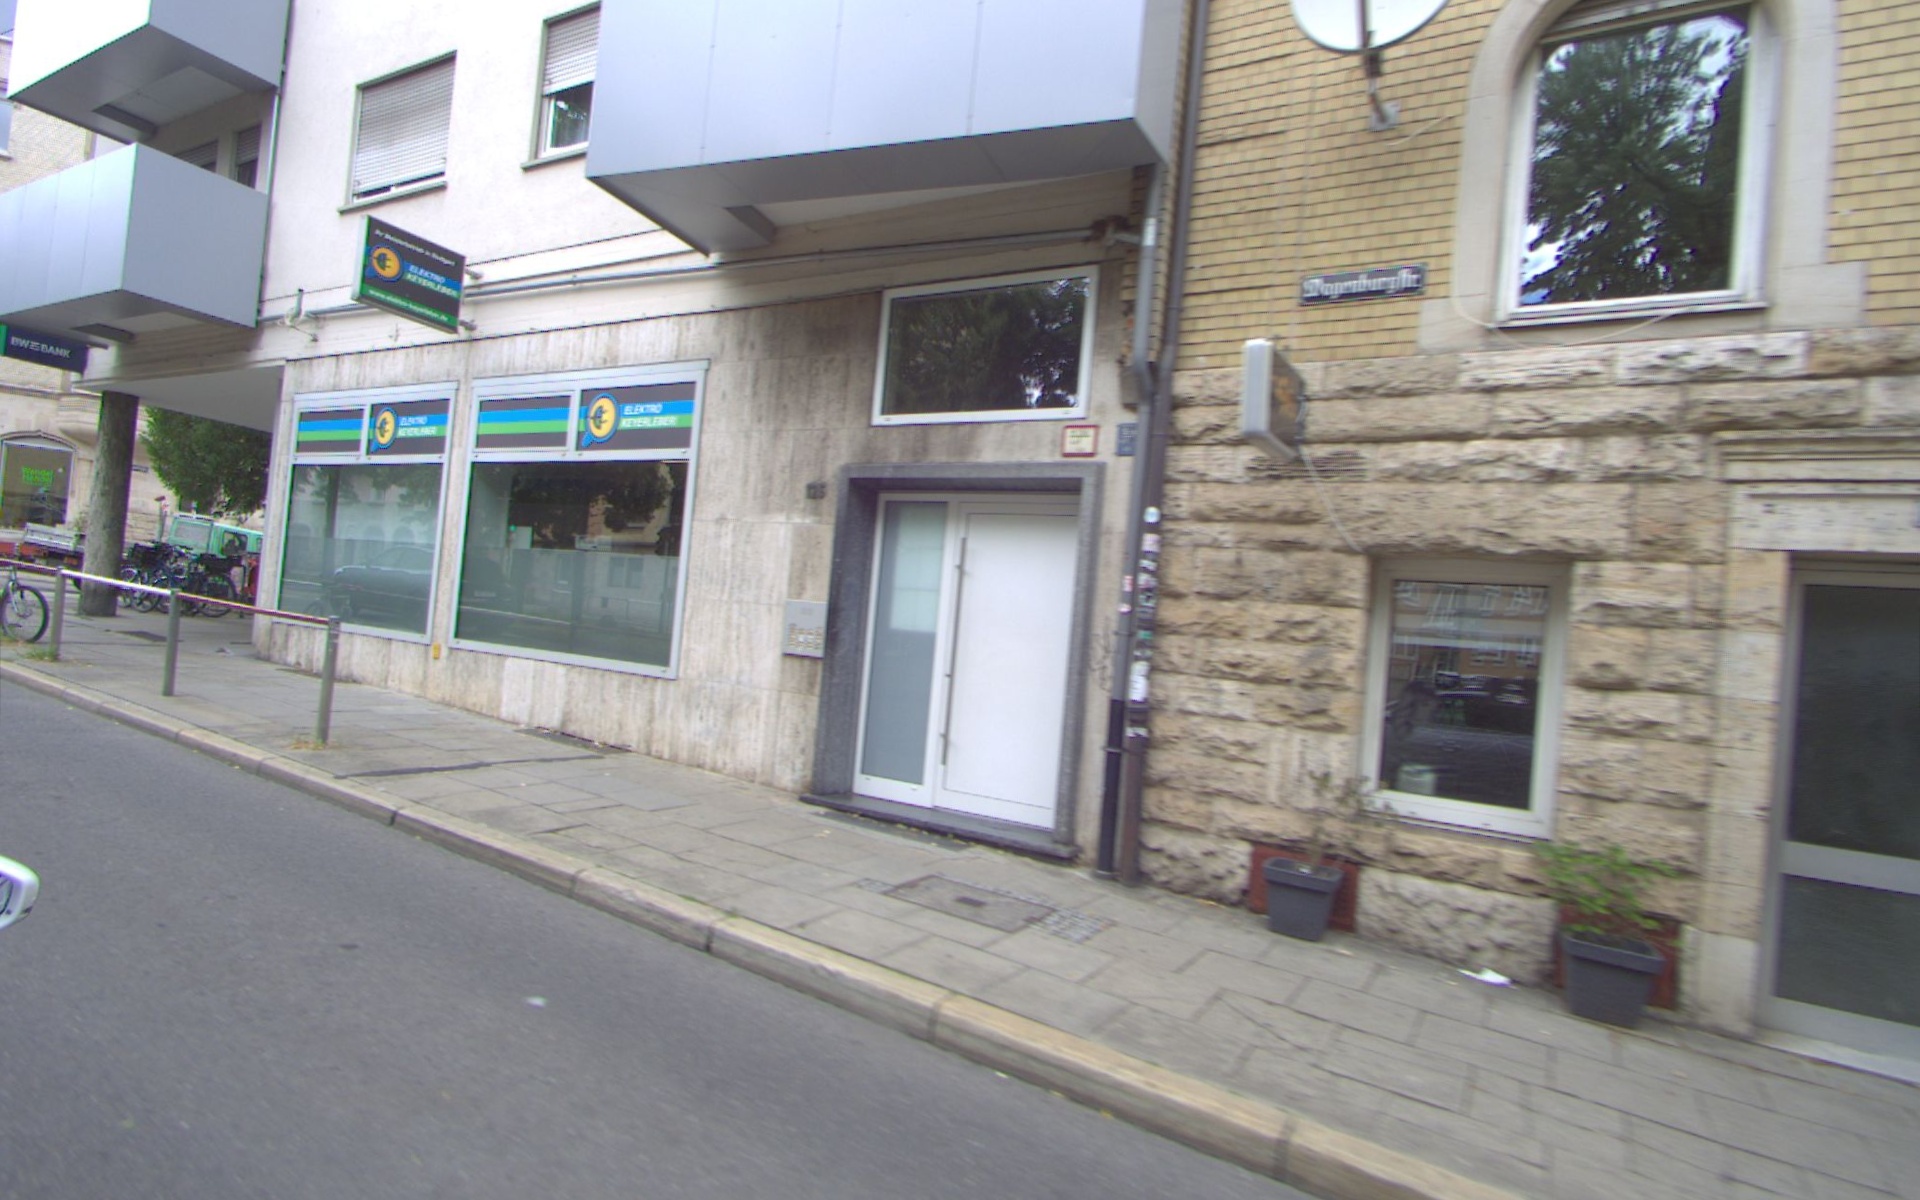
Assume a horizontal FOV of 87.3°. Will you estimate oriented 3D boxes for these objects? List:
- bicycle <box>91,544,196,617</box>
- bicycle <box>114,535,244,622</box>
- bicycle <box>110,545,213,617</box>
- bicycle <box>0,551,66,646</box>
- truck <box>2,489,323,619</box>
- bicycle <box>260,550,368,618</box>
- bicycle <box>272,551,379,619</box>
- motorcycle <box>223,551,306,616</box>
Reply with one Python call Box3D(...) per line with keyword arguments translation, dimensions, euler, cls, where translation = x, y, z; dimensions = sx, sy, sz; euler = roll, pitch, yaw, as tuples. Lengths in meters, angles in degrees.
Box3D(translation=(-14.002, -0.341, 17.249), dimensions=(1.727, 1.055, 0.319), euler=(6, -1, 13), cls="bicycle")
Box3D(translation=(-12.874, -0.350, 16.595), dimensions=(1.728, 1.212, 0.319), euler=(7, -1, -1), cls="bicycle")
Box3D(translation=(-13.937, -0.335, 17.556), dimensions=(1.727, 1.055, 0.319), euler=(6, -1, 13), cls="bicycle")
Box3D(translation=(-10.763, -0.059, 11.257), dimensions=(1.745, 0.942, 0.570), euler=(5, -2, 31), cls="bicycle")
Box3D(translation=(-19.282, -0.994, 24.770), dimensions=(2.338, 2.155, 5.586), euler=(7, -4, 21), cls="truck")
Box3D(translation=(-13.696, -0.340, 21.334), dimensions=(2.283, 1.201, 0.278), euler=(6, -1, 12), cls="bicycle")
Box3D(translation=(-13.637, -0.320, 21.623), dimensions=(2.283, 1.201, 0.278), euler=(6, -1, 12), cls="bicycle")
Box3D(translation=(-13.849, -0.332, 20.022), dimensions=(1.772, 1.118, 0.571), euler=(5, -2, 31), cls="motorcycle")
